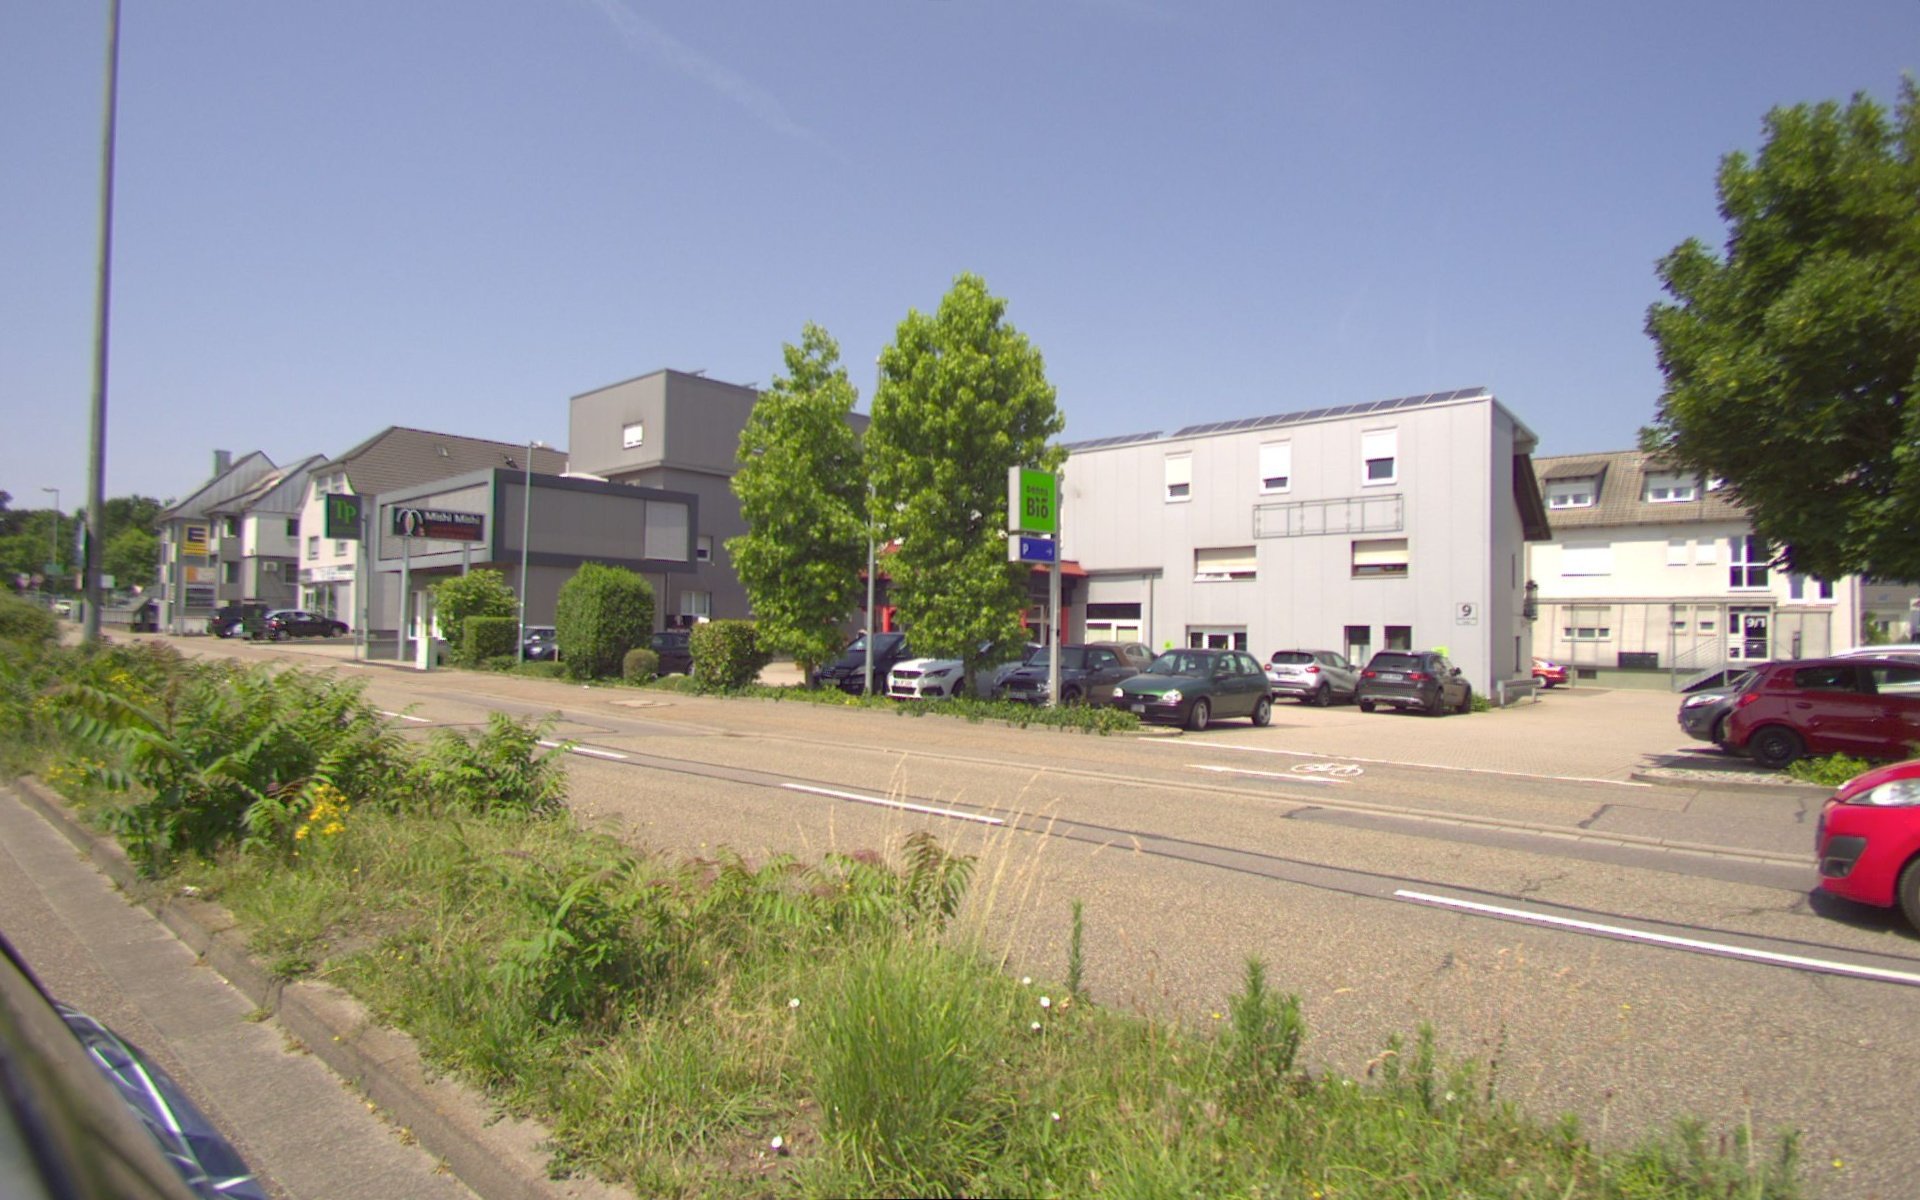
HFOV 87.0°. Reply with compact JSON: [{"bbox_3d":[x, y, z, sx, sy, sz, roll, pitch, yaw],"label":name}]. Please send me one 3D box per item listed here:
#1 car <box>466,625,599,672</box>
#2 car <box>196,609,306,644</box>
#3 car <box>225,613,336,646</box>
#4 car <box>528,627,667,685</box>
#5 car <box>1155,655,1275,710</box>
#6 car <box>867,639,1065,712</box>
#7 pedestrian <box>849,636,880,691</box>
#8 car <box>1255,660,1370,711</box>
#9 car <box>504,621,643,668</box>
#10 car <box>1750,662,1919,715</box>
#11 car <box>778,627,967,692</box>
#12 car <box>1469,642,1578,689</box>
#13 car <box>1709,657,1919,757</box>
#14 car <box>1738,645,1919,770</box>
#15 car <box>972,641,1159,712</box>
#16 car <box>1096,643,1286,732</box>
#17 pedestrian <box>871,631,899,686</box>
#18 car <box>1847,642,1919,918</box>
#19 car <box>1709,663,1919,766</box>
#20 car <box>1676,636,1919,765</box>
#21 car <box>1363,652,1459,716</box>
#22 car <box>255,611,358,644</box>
[{"bbox_3d":[-14.755,1.683,35.104,1.572,1.470,3.951,1,-1,36],"label":"car"},{"bbox_3d":[-38.387,1.401,54.868,1.852,1.639,4.559,0,1,40],"label":"car"},{"bbox_3d":[-35.941,1.517,53.635,1.747,1.508,4.570,0,2,32],"label":"car"},{"bbox_3d":[-10.730,1.611,30.079,1.777,1.541,3.444,1,0,42],"label":"car"},{"bbox_3d":[7.714,2.483,30.418,2.070,1.478,3.935,-1,-5,38],"label":"car"},{"bbox_3d":[0.218,1.575,21.425,1.979,1.359,4.180,-1,-4,40],"label":"car"},{"bbox_3d":[-2.876,1.891,30.491,0.703,1.590,0.574,1,0,40],"label":"pedestrian"},{"bbox_3d":[10.071,2.374,28.769,1.859,1.295,3.798,-1,-3,41],"label":"car"},{"bbox_3d":[-12.741,1.503,33.521,1.669,1.382,3.953,-2,-5,43],"label":"car"},{"bbox_3d":[27.767,2.745,32.096,1.707,1.462,4.007,3,-3,-39],"label":"car"},{"bbox_3d":[-1.919,1.375,23.260,2.040,1.352,4.108,-1,-4,38],"label":"car"},{"bbox_3d":[25.433,2.903,45.728,3.998,1.785,1.973,1,0,41],"label":"car"},{"bbox_3d":[16.530,1.945,18.877,3.998,1.652,1.757,-1,-3,41],"label":"car"},{"bbox_3d":[12.226,1.373,12.723,3.795,1.478,1.642,-1,-5,41],"label":"car"},{"bbox_3d":[2.153,1.483,19.853,1.858,1.240,3.799,-1,-4,40],"label":"car"},{"bbox_3d":[4.167,1.517,17.926,1.780,1.375,3.619,-1,-4,41],"label":"car"},{"bbox_3d":[-2.354,1.821,31.718,0.624,1.669,0.540,1,0,40],"label":"pedestrian"},{"bbox_3d":[6.652,1.021,4.963,3.449,1.435,1.613,0,-6,42],"label":"car"},{"bbox_3d":[14.648,1.839,16.319,3.999,1.476,1.720,-1,-5,42],"label":"car"},{"bbox_3d":[13.641,1.458,14.698,5.162,1.747,1.741,-1,-5,41],"label":"car"},{"bbox_3d":[11.714,2.102,26.177,1.760,1.471,3.808,0,-3,32],"label":"car"},{"bbox_3d":[-33.670,1.439,52.208,1.997,1.532,4.018,0,-2,38],"label":"car"}]
